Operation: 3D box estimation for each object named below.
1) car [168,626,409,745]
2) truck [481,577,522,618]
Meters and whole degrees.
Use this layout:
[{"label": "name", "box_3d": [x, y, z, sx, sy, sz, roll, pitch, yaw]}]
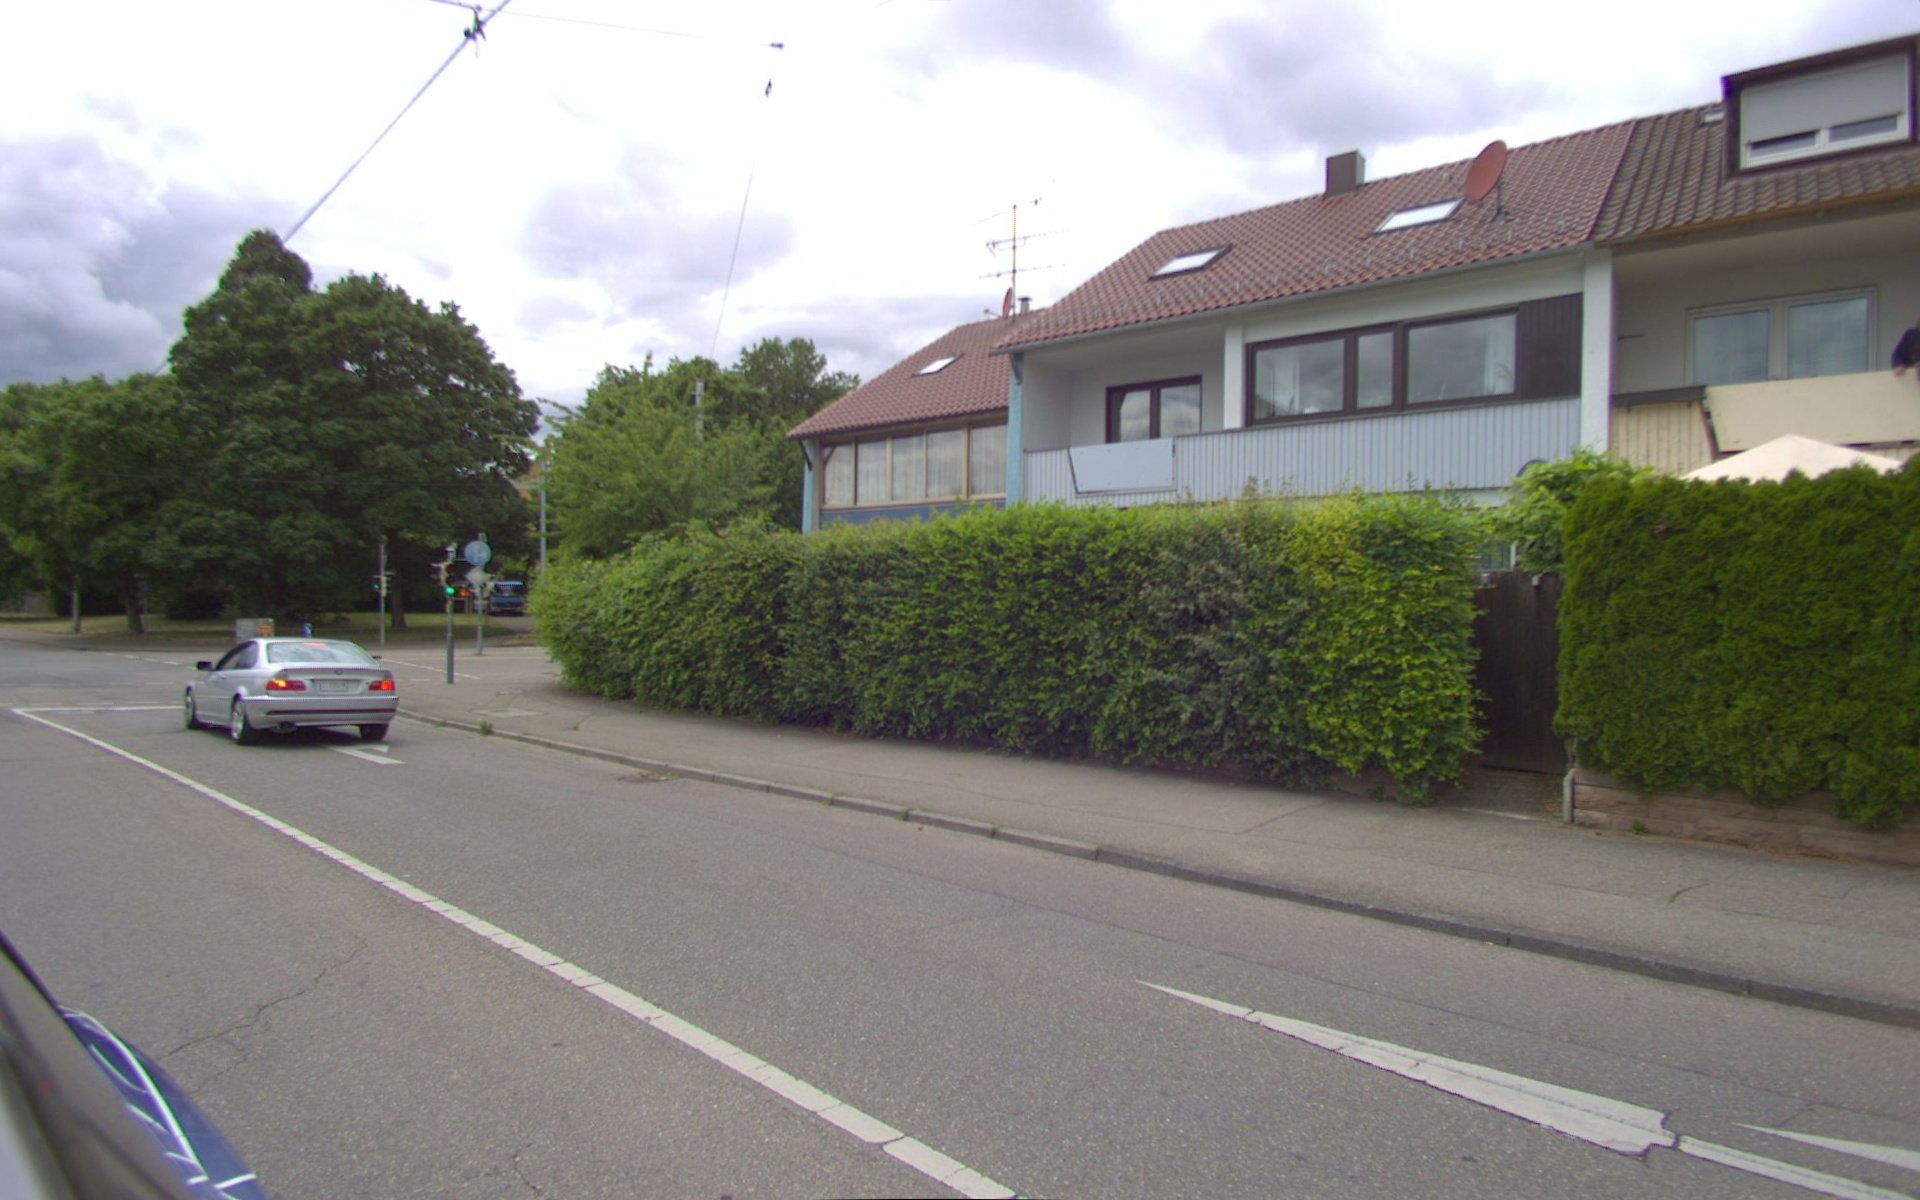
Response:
[{"label": "car", "box_3d": [-9.338, 1.124, 13.956, 4.082, 1.364, 1.694, -1, -6, 42]}, {"label": "truck", "box_3d": [-34.066, -0.196, 75.088, 2.440, 2.869, 7.457, 0, 0, -27]}]
